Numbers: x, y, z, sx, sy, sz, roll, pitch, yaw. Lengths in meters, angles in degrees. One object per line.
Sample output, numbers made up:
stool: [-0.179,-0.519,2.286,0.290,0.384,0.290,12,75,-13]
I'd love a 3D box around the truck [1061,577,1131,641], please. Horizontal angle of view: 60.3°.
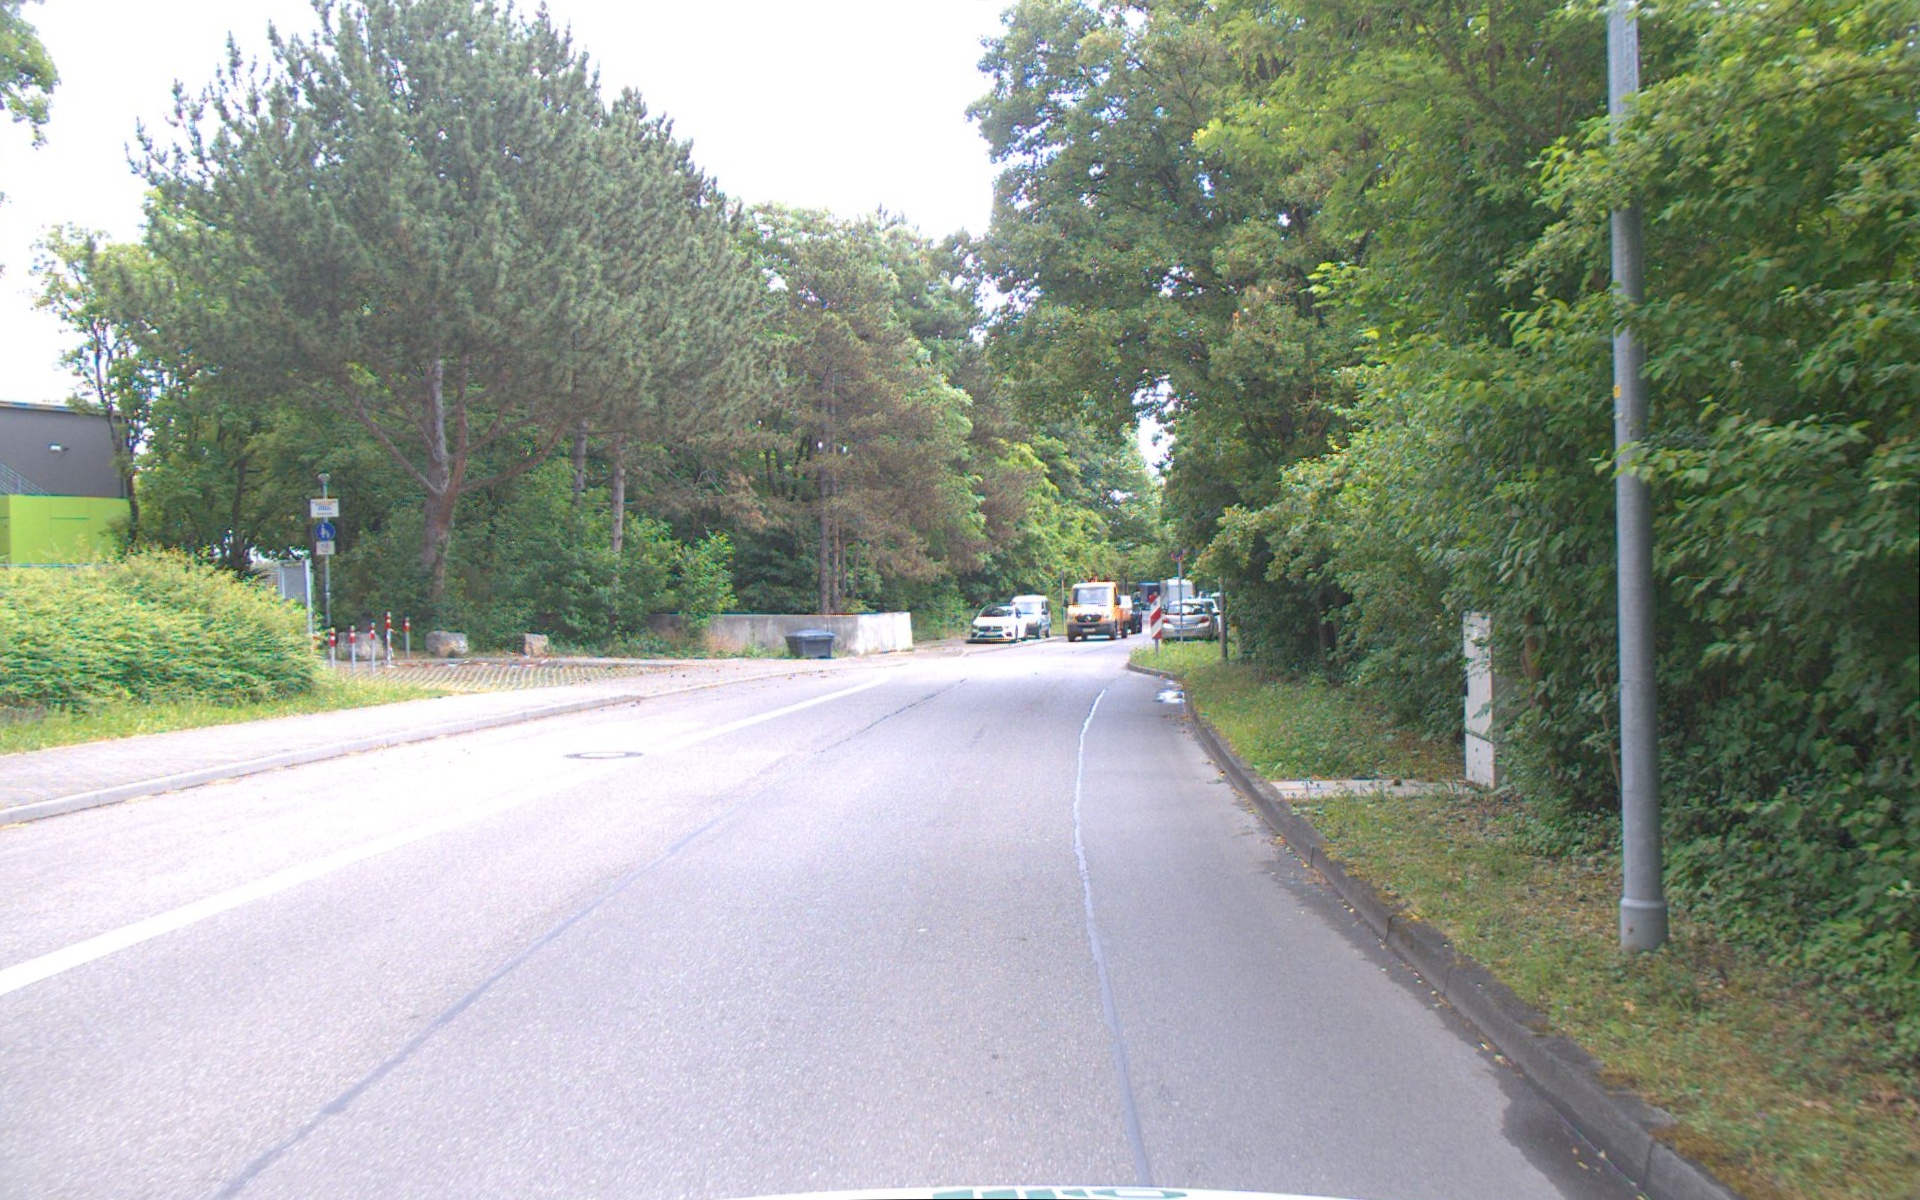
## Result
truck: [5.629,0.339,67.675,2.272,2.513,6.025,0,0,10]

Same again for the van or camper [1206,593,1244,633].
van or camper: [13.380,0.686,83.351,1.763,1.870,4.324,-2,-2,10]

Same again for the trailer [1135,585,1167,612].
trailer: [17.987,-0.105,156.027,1.957,2.440,3.992,-2,0,-9]

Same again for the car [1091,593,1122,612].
car: [15.480,0.270,174.769,2.001,1.835,4.068,-2,0,-14]

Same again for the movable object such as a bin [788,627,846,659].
movable object such as a bin: [-3.567,1.079,41.241,1.130,0.774,1.040,1,-2,-27]

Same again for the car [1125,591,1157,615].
car: [17.628,0.269,161.533,1.958,2.060,3.991,-5,2,-9]

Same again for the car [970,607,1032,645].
car: [1.649,1.004,64.907,1.767,1.427,4.375,0,0,10]

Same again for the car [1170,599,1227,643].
car: [9.017,0.773,62.151,1.846,1.533,5.180,-2,0,11]

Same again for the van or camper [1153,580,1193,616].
van or camper: [18.637,-0.161,145.069,2.432,2.926,6.888,-2,0,-1]

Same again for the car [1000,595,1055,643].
car: [2.936,0.778,71.315,1.684,1.955,4.108,0,1,13]

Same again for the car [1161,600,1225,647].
car: [7.712,0.767,54.518,1.754,1.435,4.062,-2,-1,12]
